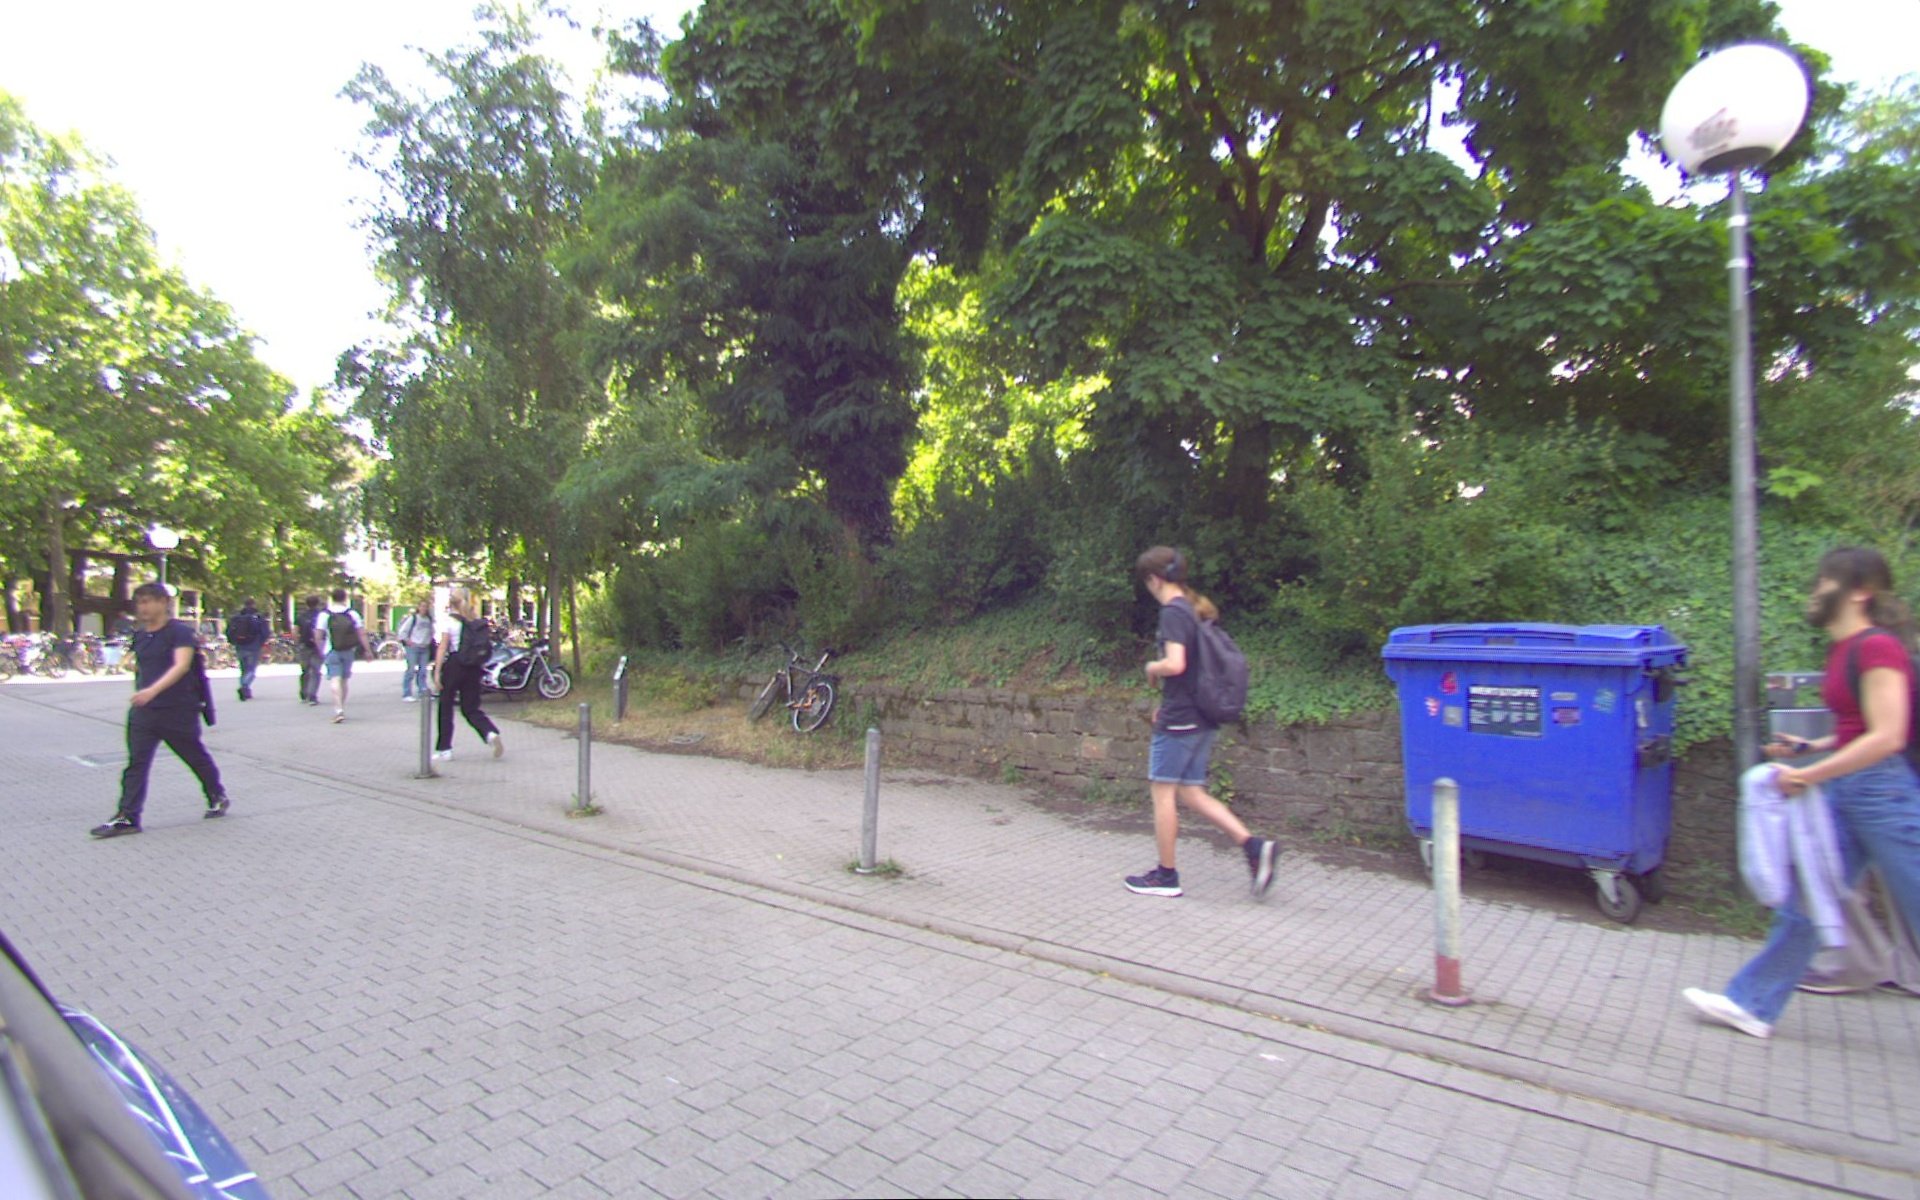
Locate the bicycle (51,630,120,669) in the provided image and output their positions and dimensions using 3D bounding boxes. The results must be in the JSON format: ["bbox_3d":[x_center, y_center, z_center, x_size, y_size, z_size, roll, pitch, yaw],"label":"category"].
[{"bbox_3d":[-29.072,1.628,33.668,0.500,1.229,1.684,-1,-1,27],"label":"bicycle"}]

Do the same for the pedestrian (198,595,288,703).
[{"bbox_3d":[-12.836,0.858,18.149,0.875,1.871,1.033,-1,0,-1],"label":"pedestrian"}]

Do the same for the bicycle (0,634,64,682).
[{"bbox_3d":[-24.177,1.472,26.008,0.473,1.177,1.680,-1,-1,33],"label":"bicycle"}]

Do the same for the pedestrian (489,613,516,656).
[{"bbox_3d":[-19.865,1.489,43.919,0.758,1.817,0.984,-1,-1,-3],"label":"pedestrian"}]

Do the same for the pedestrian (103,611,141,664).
[{"bbox_3d":[-29.610,1.315,35.776,0.701,1.820,0.768,-1,-1,6],"label":"pedestrian"}]

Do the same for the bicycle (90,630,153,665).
[{"bbox_3d":[-30.062,1.683,36.306,1.671,1.209,0.577,0,-1,-15],"label":"bicycle"}]

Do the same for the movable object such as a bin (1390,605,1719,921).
[{"bbox_3d":[2.960,0.721,5.106,0.700,1.346,1.241,-3,1,-41],"label":"movable object such as a bin"}]

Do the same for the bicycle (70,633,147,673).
[{"bbox_3d":[-24.431,1.509,29.057,1.672,1.092,0.475,0,-1,-38],"label":"bicycle"}]

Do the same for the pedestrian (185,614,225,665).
[{"bbox_3d":[-26.105,1.363,35.014,0.892,1.716,0.772,-1,-1,-16],"label":"pedestrian"}]

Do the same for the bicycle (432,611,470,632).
[{"bbox_3d":[-31.269,1.331,62.162,1.858,1.180,0.806,-4,-1,-5],"label":"bicycle"}]

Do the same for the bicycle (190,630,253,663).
[{"bbox_3d":[-25.337,1.582,34.733,1.671,1.092,0.475,0,-1,-15],"label":"bicycle"}]

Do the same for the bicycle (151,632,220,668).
[{"bbox_3d":[-24.541,1.582,32.090,1.671,1.092,0.475,0,-1,-15],"label":"bicycle"}]

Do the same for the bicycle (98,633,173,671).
[{"bbox_3d":[-24.474,1.538,30.065,1.671,1.092,0.475,0,-1,-16],"label":"bicycle"}]

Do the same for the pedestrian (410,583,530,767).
[{"bbox_3d":[-4.925,0.710,10.172,1.000,1.741,0.677,-1,0,35],"label":"pedestrian"}]

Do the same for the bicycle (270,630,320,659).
[{"bbox_3d":[-25.918,1.720,39.450,1.676,1.092,0.474,-1,-1,2],"label":"bicycle"}]

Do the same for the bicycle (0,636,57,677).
[{"bbox_3d":[-26.230,1.572,28.235,0.468,1.070,1.697,-1,-1,4],"label":"bicycle"}]

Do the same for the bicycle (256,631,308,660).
[{"bbox_3d":[-25.631,1.714,38.262,1.676,1.092,0.474,-1,-1,2],"label":"bicycle"}]

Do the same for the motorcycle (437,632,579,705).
[{"bbox_3d":[-7.199,1.078,16.165,1.994,1.055,0.475,-2,-1,-8],"label":"motorcycle"}]

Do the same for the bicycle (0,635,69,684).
[{"bbox_3d":[-23.299,1.468,25.137,0.472,1.168,1.682,-1,-1,30],"label":"bicycle"}]

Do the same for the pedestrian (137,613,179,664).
[{"bbox_3d":[-27.432,1.308,34.628,0.892,1.716,0.772,-1,-1,-14],"label":"pedestrian"}]

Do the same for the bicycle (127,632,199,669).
[{"bbox_3d":[-24.426,1.547,31.042,1.670,1.092,0.475,0,-1,-20],"label":"bicycle"}]

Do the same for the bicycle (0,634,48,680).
[{"bbox_3d":[-25.434,1.524,26.934,0.471,1.177,1.684,-1,-1,26],"label":"bicycle"}]

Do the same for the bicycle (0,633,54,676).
[{"bbox_3d":[-27.115,1.563,29.054,0.469,1.166,1.693,-1,-1,12],"label":"bicycle"}]

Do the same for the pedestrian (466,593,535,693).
[{"bbox_3d":[-8.179,0.760,18.035,0.925,1.737,0.677,-1,-2,3],"label":"pedestrian"}]

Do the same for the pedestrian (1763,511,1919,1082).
[{"bbox_3d":[3.066,0.560,3.082,0.911,1.633,0.677,-1,0,35],"label":"pedestrian"}]

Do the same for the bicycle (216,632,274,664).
[{"bbox_3d":[-25.288,1.695,35.811,1.673,1.092,0.475,-1,-1,-6],"label":"bicycle"}]

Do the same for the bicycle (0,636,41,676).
[{"bbox_3d":[-27.566,1.617,29.149,0.469,1.116,1.693,-1,-1,12],"label":"bicycle"}]

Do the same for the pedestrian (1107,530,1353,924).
[{"bbox_3d":[1.345,0.564,5.055,1.018,1.741,0.677,-1,0,35],"label":"pedestrian"}]

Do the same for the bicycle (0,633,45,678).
[{"bbox_3d":[-25.836,1.506,27.299,0.471,1.177,1.687,-1,-1,22],"label":"bicycle"}]

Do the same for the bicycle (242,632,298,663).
[{"bbox_3d":[-25.263,1.746,37.051,1.673,1.092,0.475,-1,-1,-6],"label":"bicycle"}]

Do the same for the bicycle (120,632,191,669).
[{"bbox_3d":[-24.932,1.570,31.389,1.670,1.092,0.475,0,-1,-20],"label":"bicycle"}]

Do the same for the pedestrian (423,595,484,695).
[{"bbox_3d":[-9.047,0.795,18.100,0.722,1.737,0.685,-1,-2,3],"label":"pedestrian"}]

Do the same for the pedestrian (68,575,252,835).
[{"bbox_3d":[-5.741,0.709,7.320,0.675,1.737,0.906,-1,0,-9],"label":"pedestrian"}]

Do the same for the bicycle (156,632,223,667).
[{"bbox_3d":[-24.757,1.583,32.528,1.671,1.092,0.475,0,-1,-15],"label":"bicycle"}]

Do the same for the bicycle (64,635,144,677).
[{"bbox_3d":[-23.781,1.543,28.153,1.672,1.092,0.475,0,-1,-39],"label":"bicycle"}]

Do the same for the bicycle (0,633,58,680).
[{"bbox_3d":[-24.850,1.476,26.528,1.752,1.177,0.475,0,-1,-38],"label":"bicycle"}]

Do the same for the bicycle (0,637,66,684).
[{"bbox_3d":[-23.646,1.516,25.452,0.473,1.099,1.680,-1,-1,33],"label":"bicycle"}]

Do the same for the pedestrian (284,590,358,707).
[{"bbox_3d":[-10.686,0.778,16.920,1.118,1.887,0.677,-1,0,35],"label":"pedestrian"}]

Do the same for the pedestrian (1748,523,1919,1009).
[{"bbox_3d":[3.481,0.556,3.630,0.976,1.633,0.677,-1,0,35],"label":"pedestrian"}]

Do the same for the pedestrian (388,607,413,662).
[{"bbox_3d":[-19.397,1.182,35.106,0.603,1.849,1.053,0,-1,-20],"label":"pedestrian"}]

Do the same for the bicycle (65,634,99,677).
[{"bbox_3d":[-23.350,1.464,26.909,1.699,1.092,0.501,-1,-1,42],"label":"bicycle"}]

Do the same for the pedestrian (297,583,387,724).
[{"bbox_3d":[-8.707,0.727,14.262,1.080,1.895,0.718,-1,0,35],"label":"pedestrian"}]

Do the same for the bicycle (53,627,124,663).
[{"bbox_3d":[-28.320,1.449,32.920,0.500,1.116,1.684,-1,-1,27],"label":"bicycle"}]
